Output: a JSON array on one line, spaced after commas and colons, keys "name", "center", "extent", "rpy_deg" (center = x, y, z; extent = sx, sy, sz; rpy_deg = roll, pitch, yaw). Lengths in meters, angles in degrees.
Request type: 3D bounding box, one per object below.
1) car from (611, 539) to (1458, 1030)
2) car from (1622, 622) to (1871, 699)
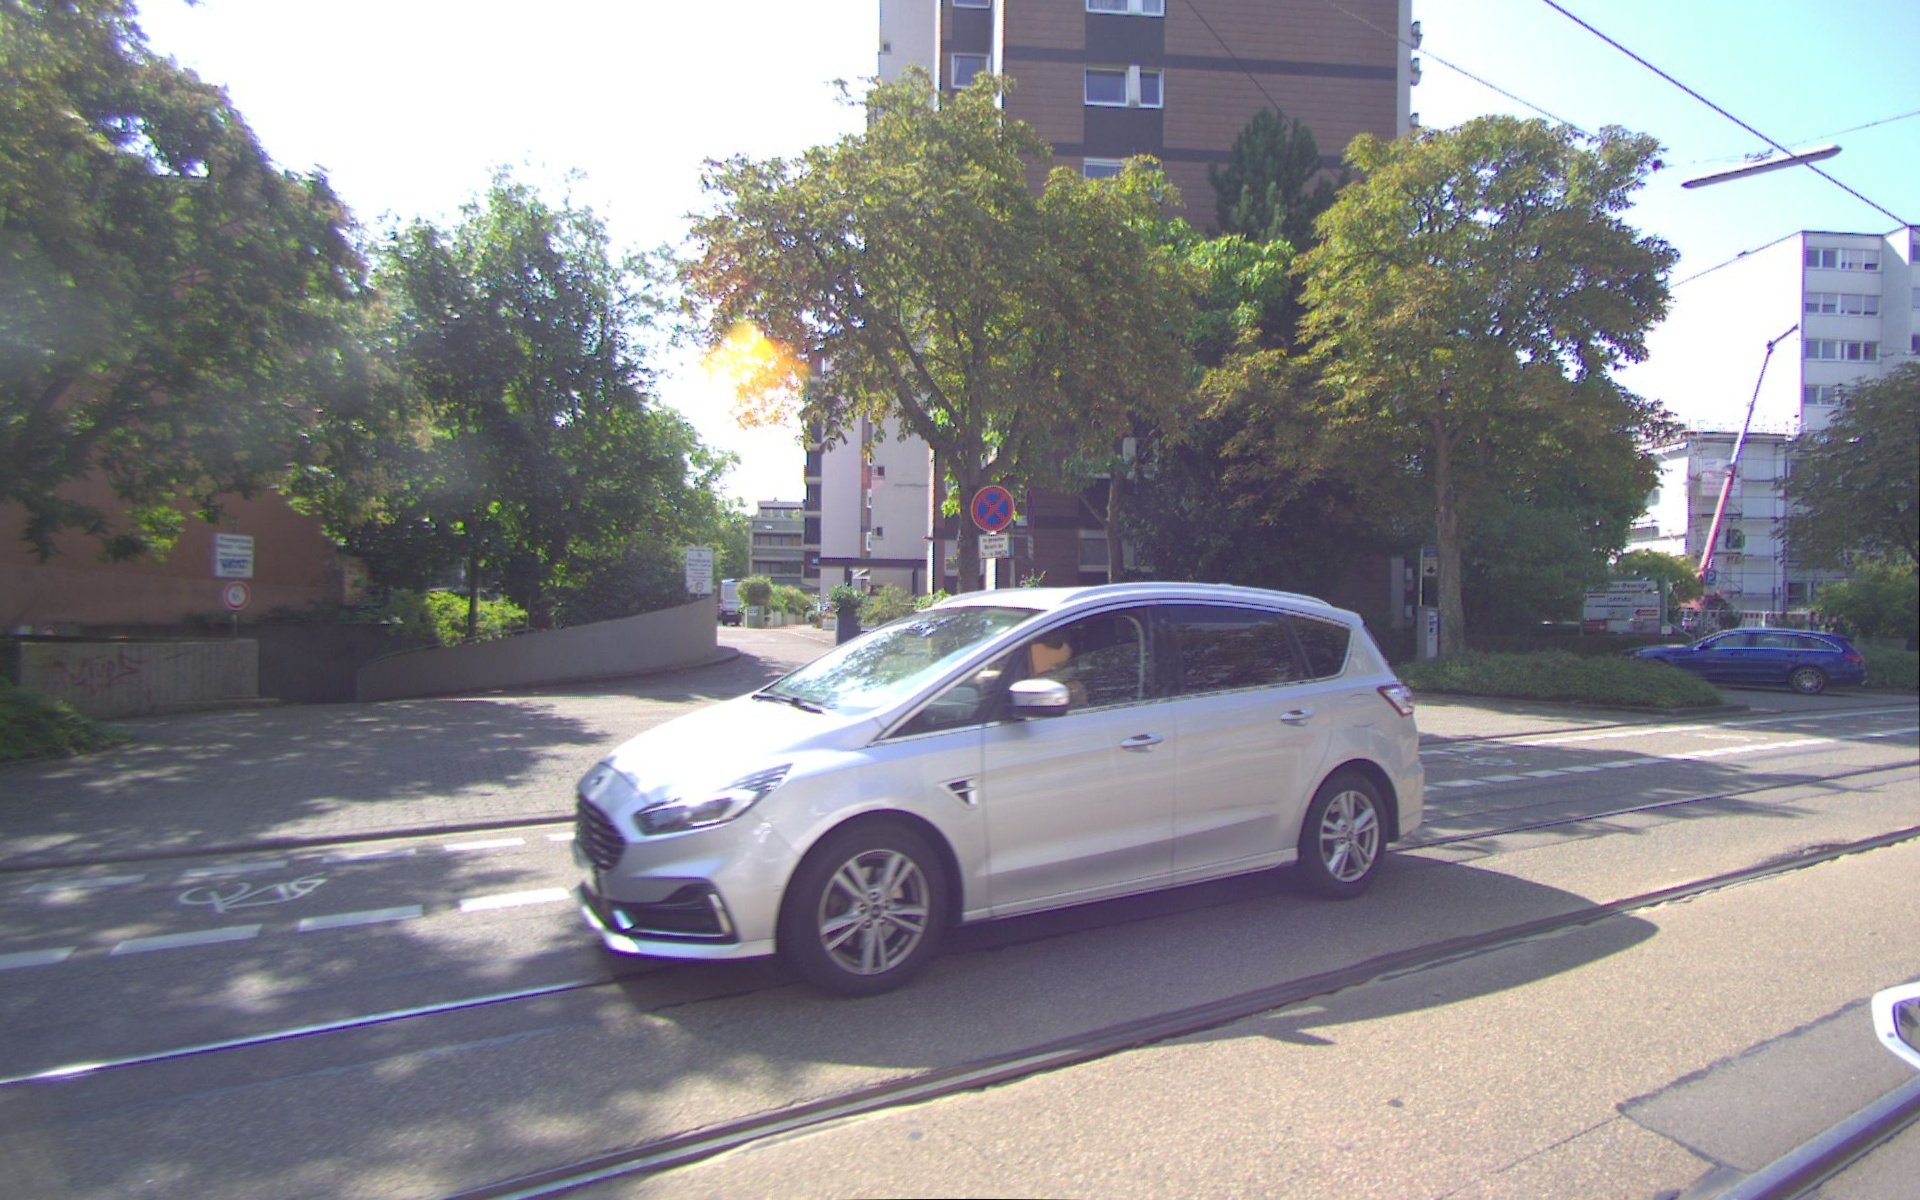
[{"name": "car", "center": [0.552, 0.681, 5.379], "extent": [4.298, 1.706, 1.771], "rpy_deg": [1, 0, -32]}, {"name": "car", "center": [18.635, 1.366, 24.062], "extent": [4.510, 1.573, 1.993], "rpy_deg": [1, 0, 37]}]
